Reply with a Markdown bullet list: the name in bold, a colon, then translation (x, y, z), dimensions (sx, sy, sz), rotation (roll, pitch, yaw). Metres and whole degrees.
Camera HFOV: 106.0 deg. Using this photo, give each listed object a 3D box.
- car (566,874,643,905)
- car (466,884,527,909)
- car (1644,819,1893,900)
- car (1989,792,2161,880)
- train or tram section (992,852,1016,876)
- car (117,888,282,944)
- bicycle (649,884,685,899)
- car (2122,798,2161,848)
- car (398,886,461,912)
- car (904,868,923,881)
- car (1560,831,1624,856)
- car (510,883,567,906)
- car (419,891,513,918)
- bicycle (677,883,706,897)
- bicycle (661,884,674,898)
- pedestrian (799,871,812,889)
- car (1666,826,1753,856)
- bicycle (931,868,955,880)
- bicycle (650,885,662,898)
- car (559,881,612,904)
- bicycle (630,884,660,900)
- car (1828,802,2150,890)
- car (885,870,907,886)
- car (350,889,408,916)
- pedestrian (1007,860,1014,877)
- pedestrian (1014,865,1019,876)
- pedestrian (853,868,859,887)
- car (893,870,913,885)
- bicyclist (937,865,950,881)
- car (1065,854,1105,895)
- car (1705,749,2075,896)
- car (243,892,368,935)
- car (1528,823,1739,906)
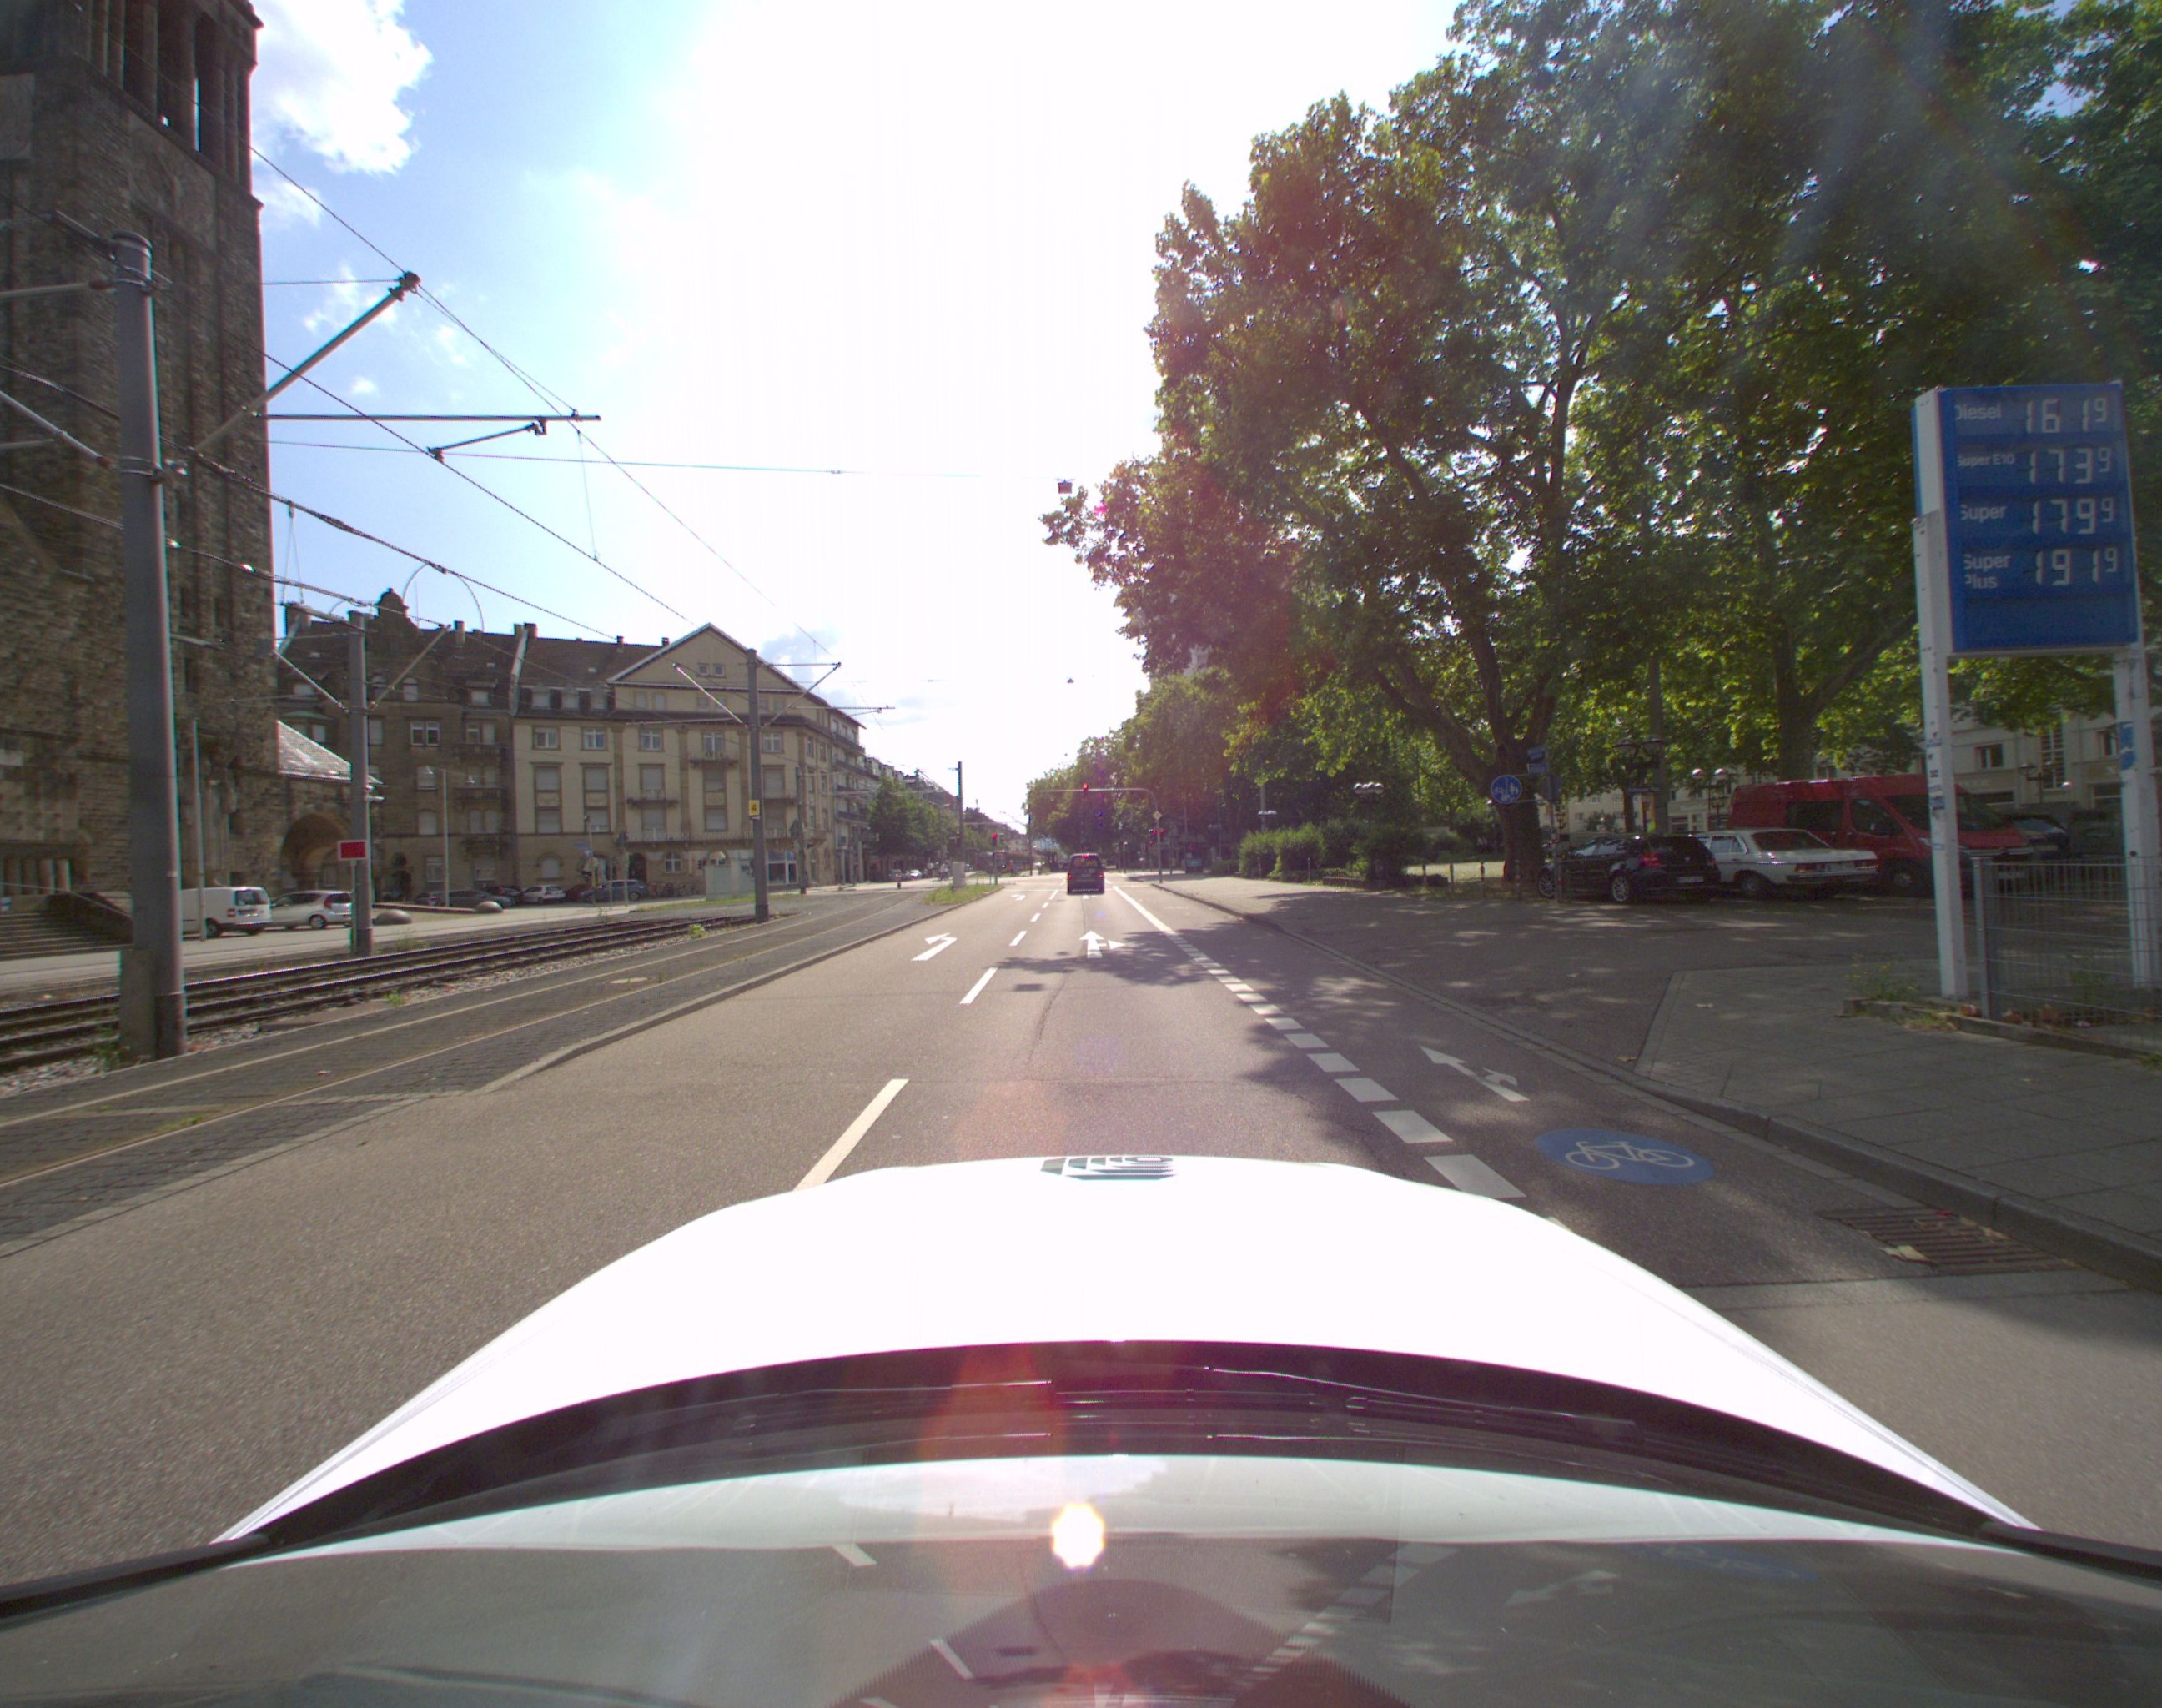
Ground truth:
- **car**: translation (-35.956, 2.636, 61.630), dimensions (4.815, 2.013, 1.983), rotation (-2, -1, -26)
- **car**: translation (-44.546, 3.254, 62.106), dimensions (3.951, 1.673, 2.011), rotation (-3, -1, 24)
- **car**: translation (14.167, 0.123, 17.135), dimensions (1.645, 1.429, 4.037), rotation (-3, 0, -4)
- **car**: translation (22.583, -0.378, 17.059), dimensions (1.999, 1.754, 4.653), rotation (-1, 0, 1)
- **train or tram section**: translation (-11.652, 1.518, 123.995), dimensions (2.233, 3.331, 12.969), rotation (-3, 0, 0)
- **car**: translation (-32.699, 2.273, 30.317), dimensions (3.861, 1.748, 1.893), rotation (-3, -1, -4)
- **bicycle**: translation (-33.921, 3.052, 66.703), dimensions (2.572, 1.053, 0.676), rotation (-2, -1, -28)
- **car**: translation (46.108, -1.363, 33.361), dimensions (4.241, 2.014, 2.077), rotation (-3, -1, 0)
- **car**: translation (-48.329, 3.354, 60.416), dimensions (3.951, 1.735, 2.011), rotation (-3, -1, 24)
- **car**: translation (-26.229, 3.204, 127.564), dimensions (1.987, 2.013, 3.999), rotation (-3, -1, 0)
- **car**: translation (45.840, -0.945, 73.137), dimensions (4.399, 2.014, 2.077), rotation (-3, -1, 1)
- **car**: translation (-42.346, 3.174, 63.567), dimensions (3.951, 1.639, 1.813), rotation (-3, -1, 24)
- **car**: translation (-40.109, 3.276, 53.214), dimensions (4.577, 1.436, 1.693), rotation (-2, -1, -24)
- **bicycle**: translation (-32.987, 3.050, 69.033), dimensions (0.798, 1.053, 2.574), rotation (-3, -1, 12)
- **bicycle**: translation (-34.674, 3.089, 68.246), dimensions (0.808, 1.053, 2.542), rotation (-2, -1, -29)
- **pedestrian**: translation (-25.560, 2.429, 75.476), dimensions (0.685, 1.596, 0.867), rotation (-3, -1, 44)
- **car**: translation (46.667, -0.934, 60.564), dimensions (4.663, 1.930, 2.192), rotation (-3, -1, 2)
- **bicycle**: translation (-13.484, 1.969, 79.729), dimensions (2.279, 1.048, 0.903), rotation (-3, -1, 35)
- **bicycle**: translation (-35.428, 3.103, 67.826), dimensions (0.808, 1.053, 2.542), rotation (-2, -1, -29)
- **car**: translation (-39.370, 3.043, 64.681), dimensions (3.948, 1.674, 2.013), rotation (-3, -1, 32)
- **bicycle**: translation (-34.936, 3.058, 65.276), dimensions (1.986, 1.114, 0.481), rotation (-2, -1, -37)
- **car**: translation (19.593, -0.149, 17.989), dimensions (1.999, 1.651, 4.653), rotation (-1, 0, 1)
- **car**: translation (-25.867, 3.320, 113.973), dimensions (1.987, 2.013, 3.999), rotation (-3, -1, 0)
- **car**: translation (-50.926, 3.502, 59.079), dimensions (3.948, 1.759, 1.899), rotation (-3, -1, 30)
- **pedestrian**: translation (-7.672, 1.565, 88.350), dimensions (0.657, 1.784, 0.660), rotation (-3, -1, 0)
- **pedestrian**: translation (-7.038, 1.801, 88.886), dimensions (0.462, 1.144, 0.435), rotation (-3, -1, 0)
- **pedestrian**: translation (-24.747, 2.560, 89.474), dimensions (0.476, 2.014, 0.419), rotation (-3, -1, -5)
- **car**: translation (-26.042, 3.379, 119.057), dimensions (1.987, 2.013, 3.999), rotation (-3, -1, 0)
- **bicyclist**: translation (-13.443, 1.896, 79.699), dimensions (0.988, 1.511, 0.785), rotation (-3, -1, 33)
- **car**: translation (0.195, 0.942, 38.737), dimensions (1.745, 1.809, 3.474), rotation (-1, -1, 0)
- **car**: translation (16.941, -0.556, 17.753), dimensions (2.104, 2.582, 6.021), rotation (-3, 0, 2)
- **car**: translation (-31.926, 2.419, 33.605), dimensions (3.257, 1.502, 1.853), rotation (-3, 0, -2)
- **car**: translation (11.466, 0.211, 17.280), dimensions (1.644, 1.470, 4.041), rotation (-3, 0, -1)
